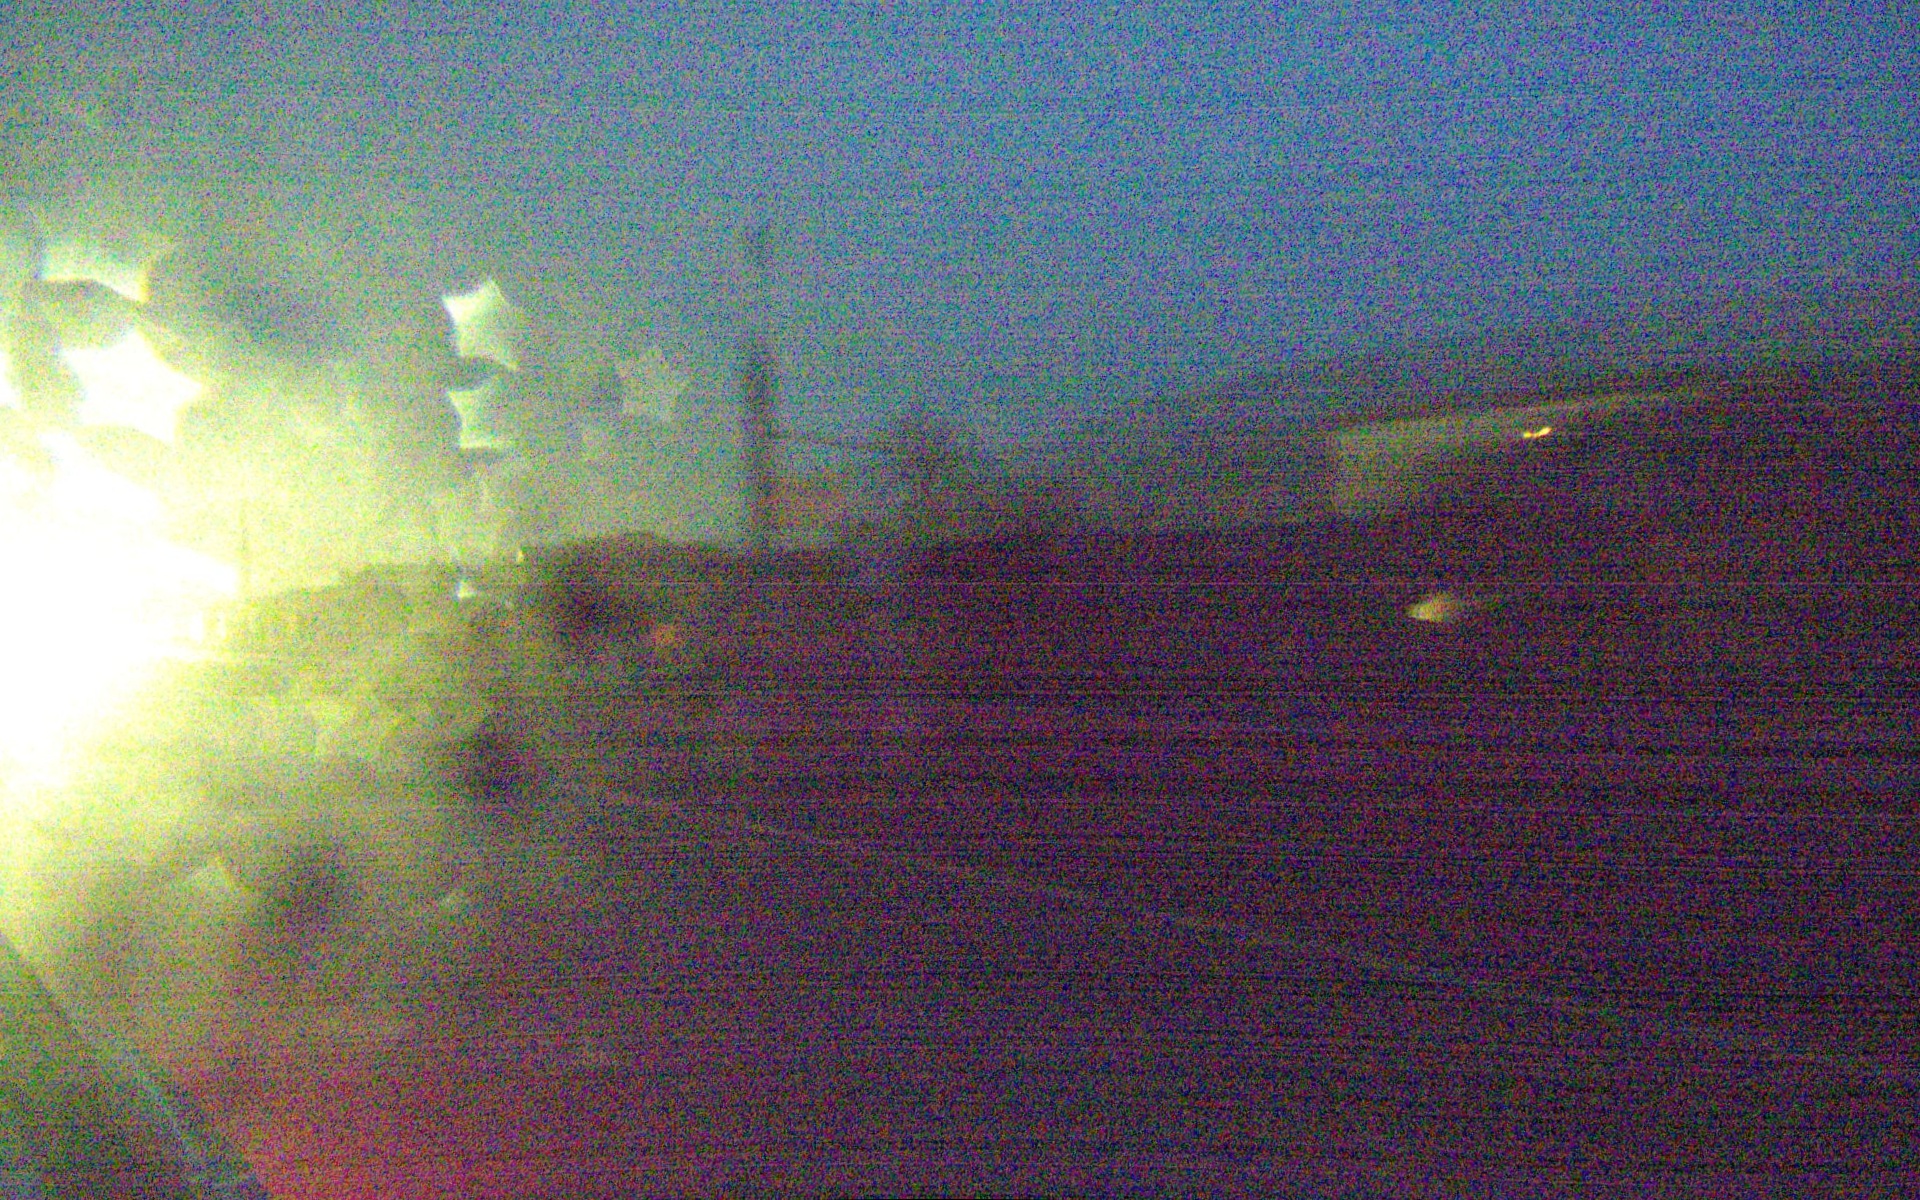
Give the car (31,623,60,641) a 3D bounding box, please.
[{"bbox_3d":[-85.272,2.996,94.367,1.897,1.658,4.031,1,-2,-41],"label":"car"}]
